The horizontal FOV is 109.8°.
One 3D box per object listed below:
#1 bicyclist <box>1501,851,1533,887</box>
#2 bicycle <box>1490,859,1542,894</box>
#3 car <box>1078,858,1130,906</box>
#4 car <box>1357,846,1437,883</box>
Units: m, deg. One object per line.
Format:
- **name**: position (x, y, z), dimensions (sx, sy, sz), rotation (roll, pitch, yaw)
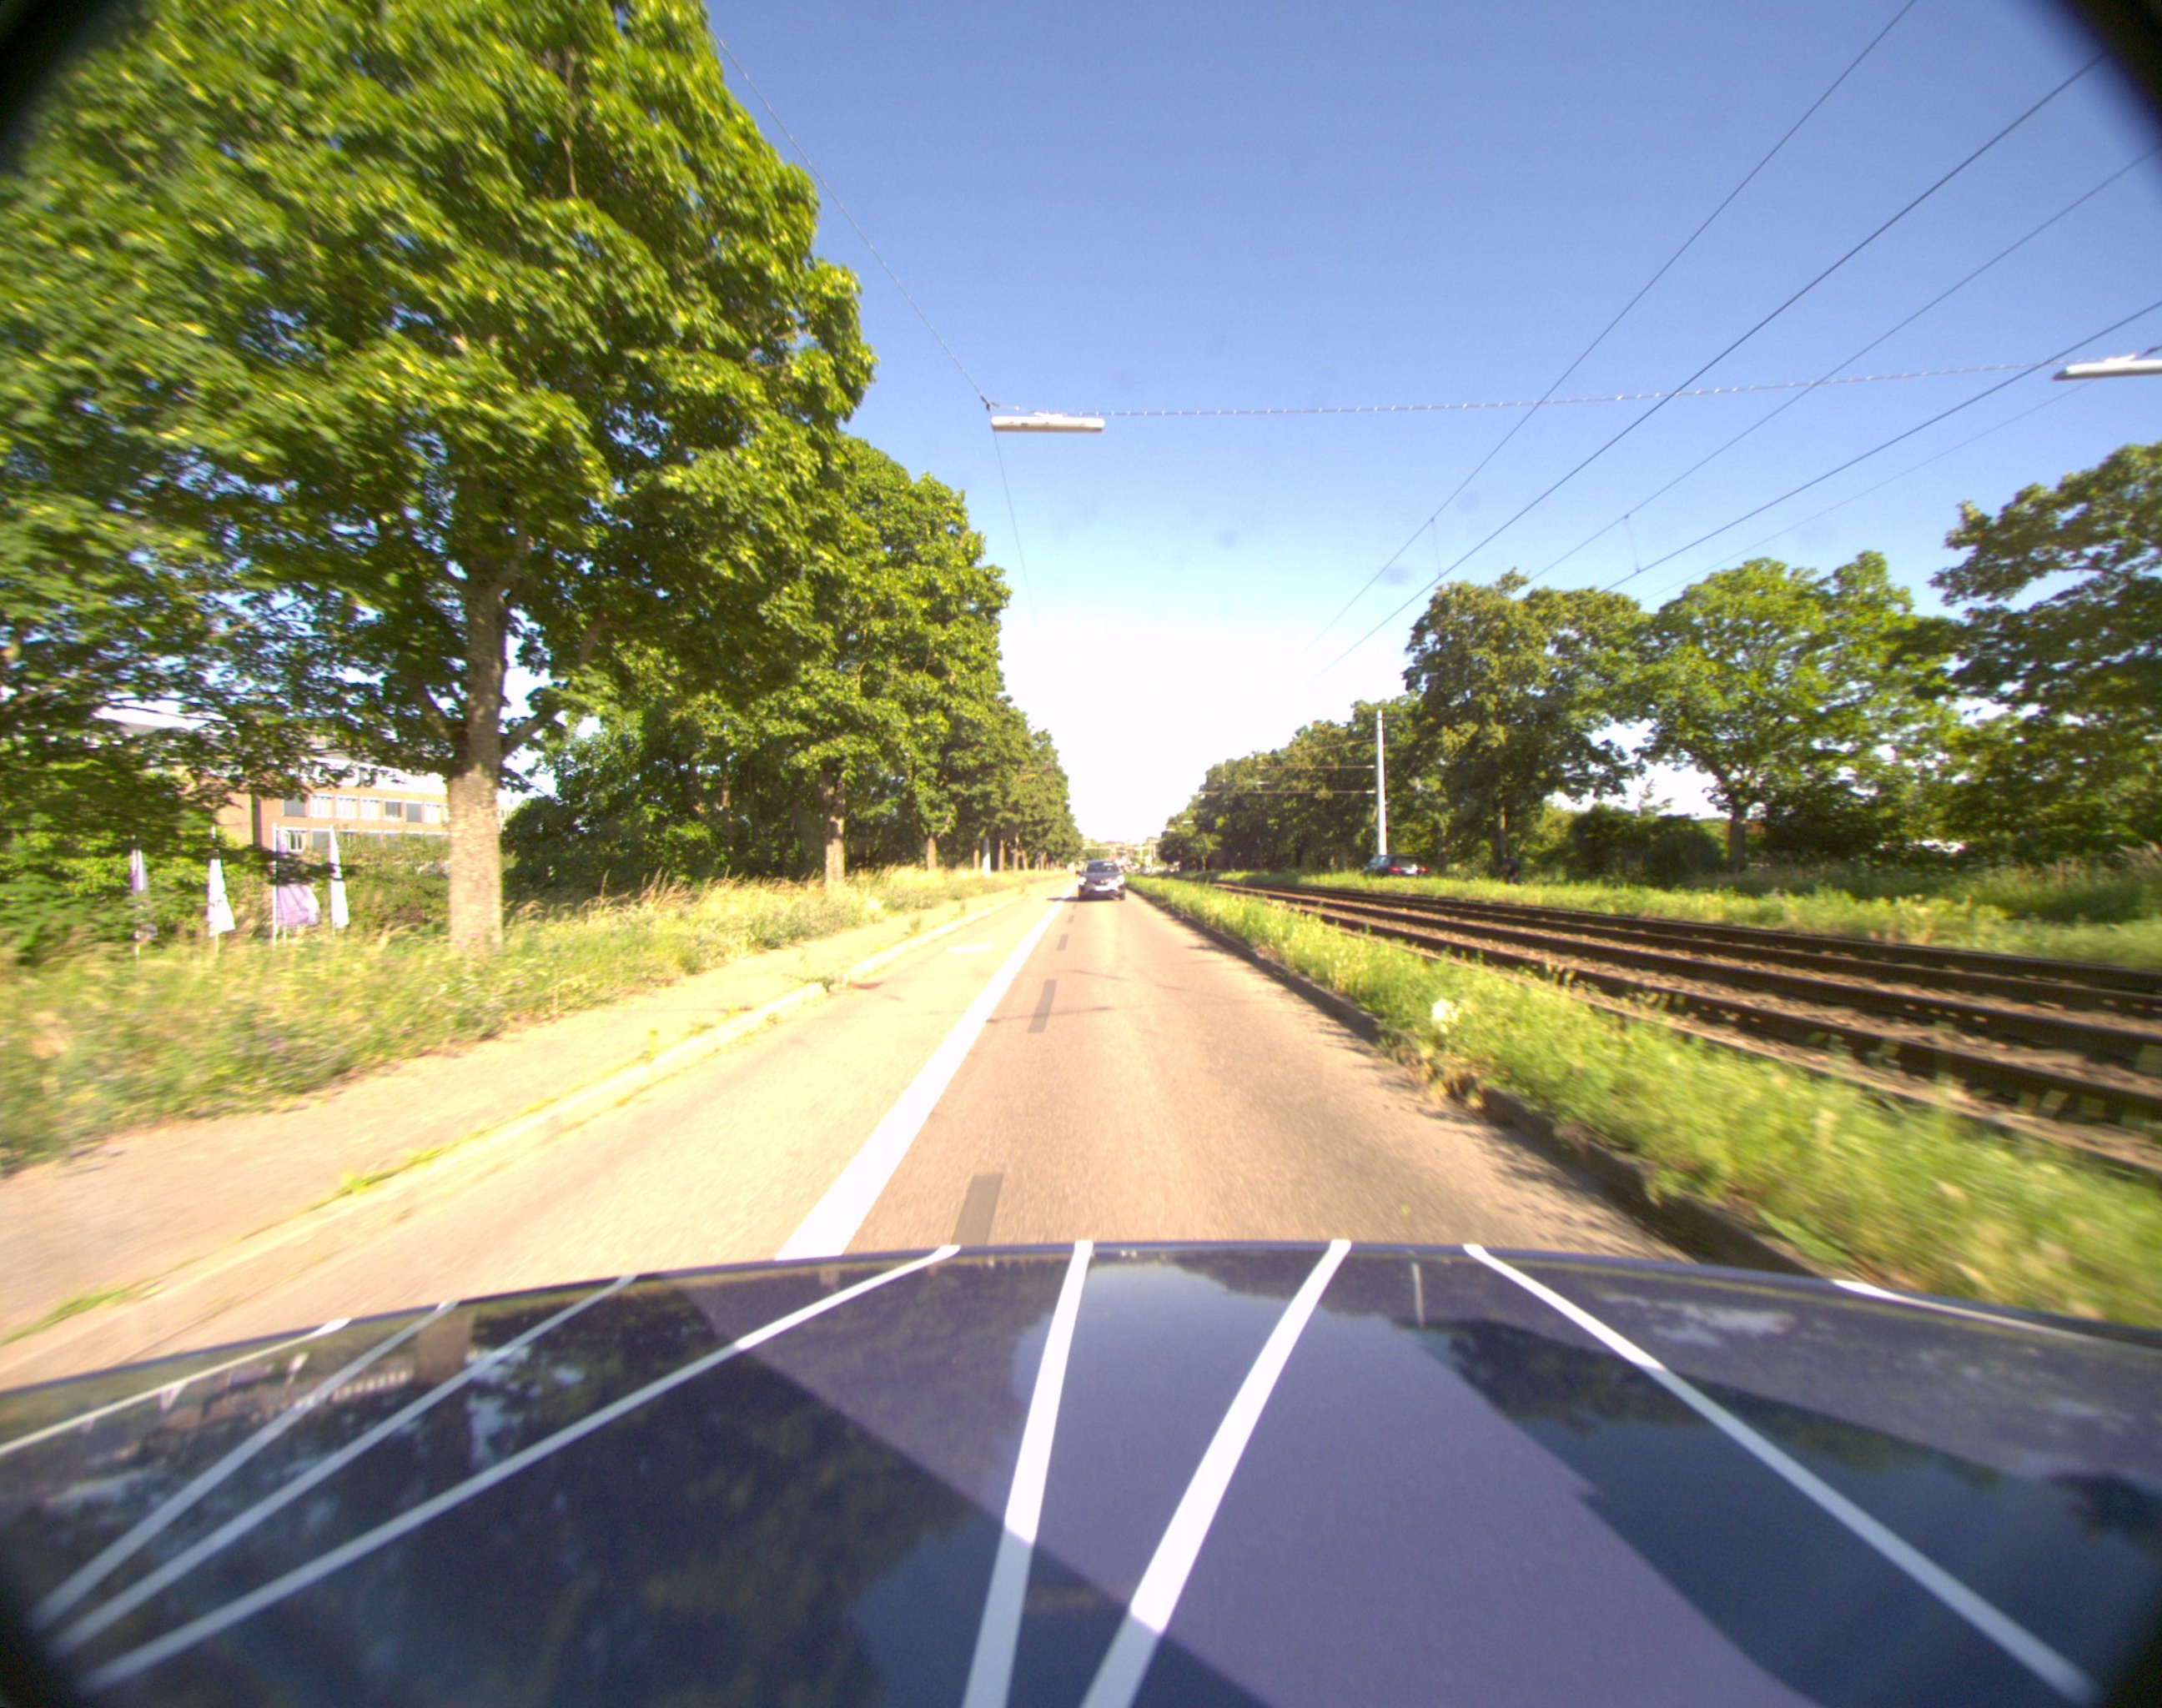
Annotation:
- **bicyclist**: position (16.517, 0.567, 28.811), dimensions (0.584, 1.302, 0.987), rotation (-3, 0, 1)
- **bicycle**: position (16.534, 0.838, 28.948), dimensions (0.591, 1.254, 2.427), rotation (-3, -1, 1)
- **car**: position (0.867, 1.013, 29.253), dimensions (1.814, 1.625, 4.710), rotation (-2, 0, 1)
- **car**: position (13.922, 0.456, 33.746), dimensions (1.814, 1.480, 4.407), rotation (-3, -1, 2)
